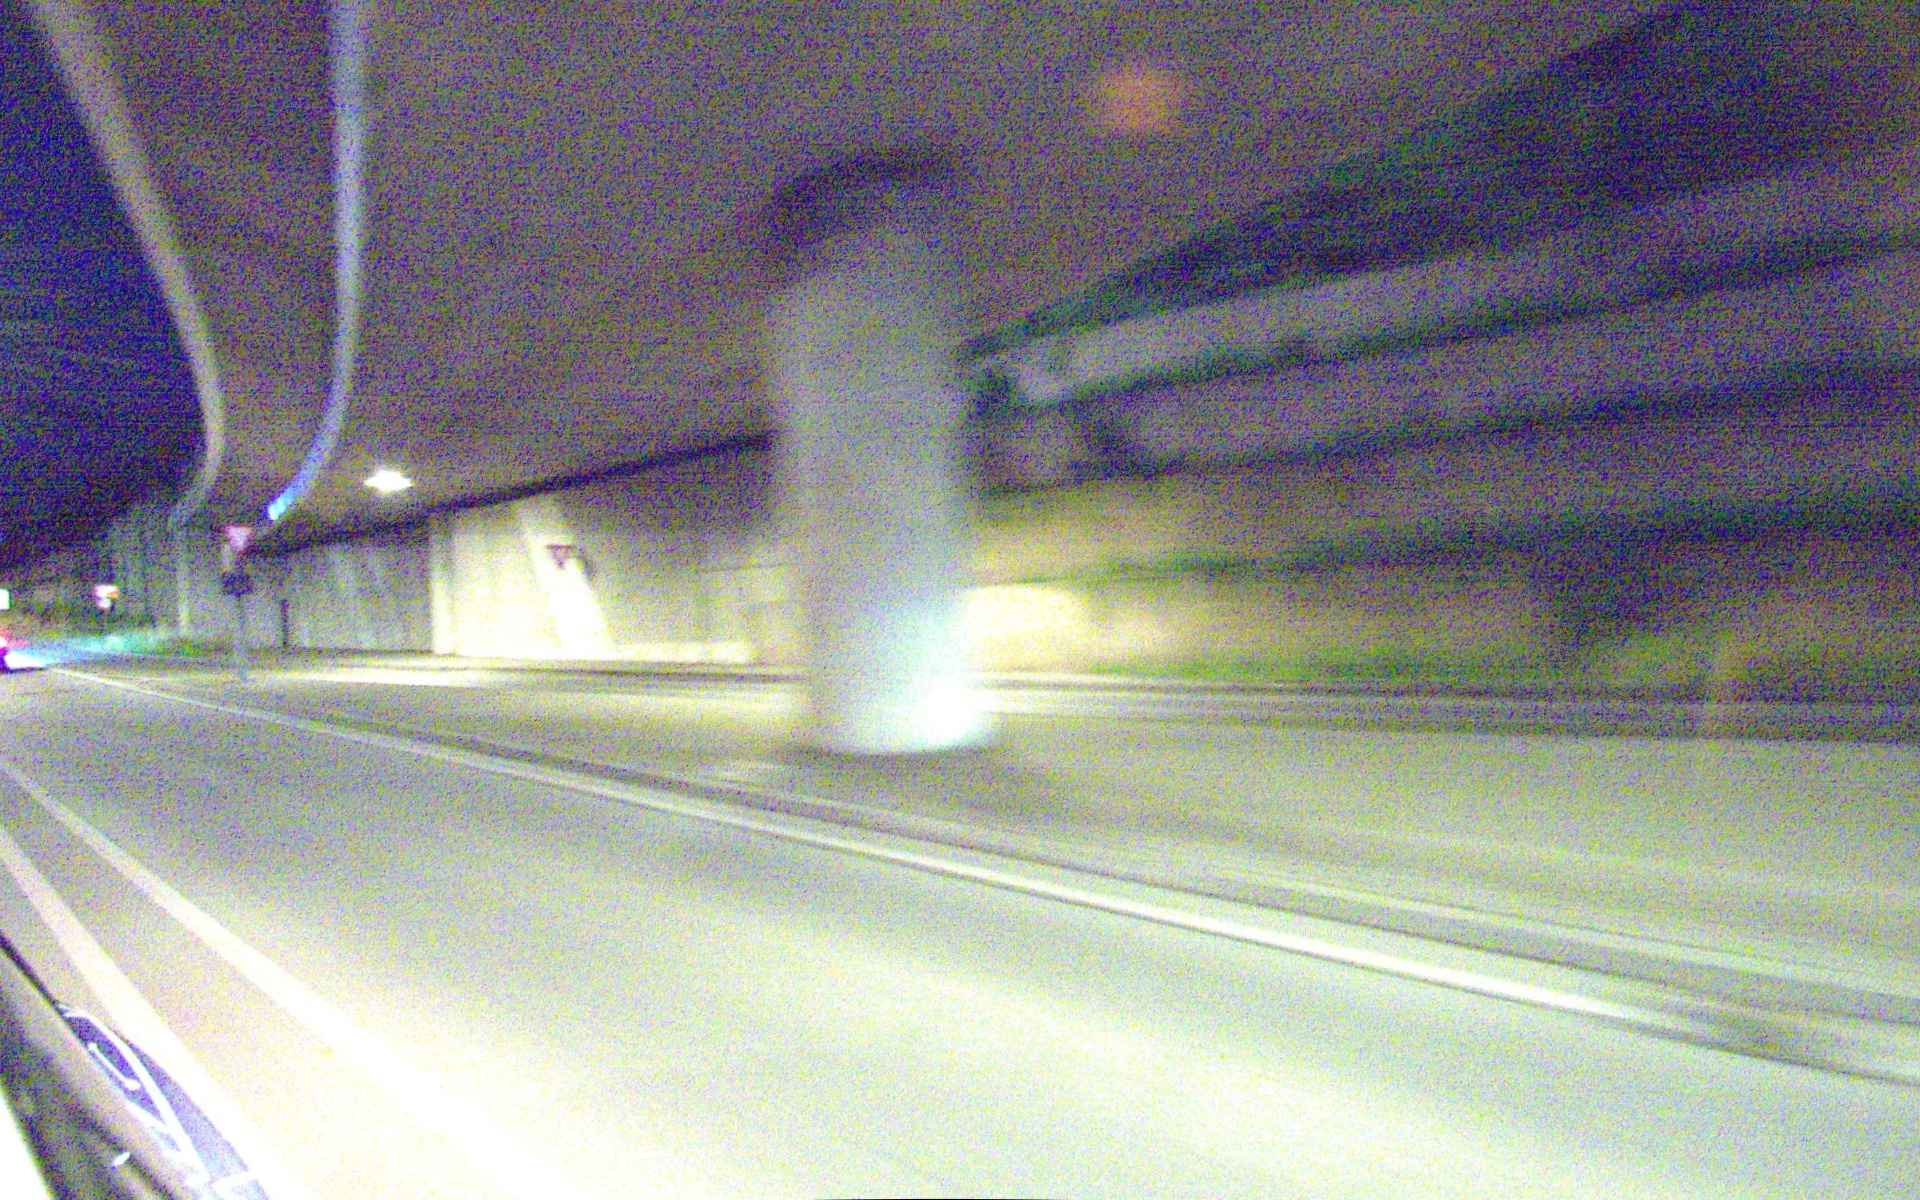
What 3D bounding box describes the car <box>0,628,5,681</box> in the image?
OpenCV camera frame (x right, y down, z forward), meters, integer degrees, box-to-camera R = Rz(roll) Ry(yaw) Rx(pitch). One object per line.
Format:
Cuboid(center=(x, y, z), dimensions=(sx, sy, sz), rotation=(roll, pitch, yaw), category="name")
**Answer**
Cuboid(center=(-30.679, 1.664, 30.994), dimensions=(4.219, 1.566, 1.861), rotation=(-1, 0, 44), category="car")
